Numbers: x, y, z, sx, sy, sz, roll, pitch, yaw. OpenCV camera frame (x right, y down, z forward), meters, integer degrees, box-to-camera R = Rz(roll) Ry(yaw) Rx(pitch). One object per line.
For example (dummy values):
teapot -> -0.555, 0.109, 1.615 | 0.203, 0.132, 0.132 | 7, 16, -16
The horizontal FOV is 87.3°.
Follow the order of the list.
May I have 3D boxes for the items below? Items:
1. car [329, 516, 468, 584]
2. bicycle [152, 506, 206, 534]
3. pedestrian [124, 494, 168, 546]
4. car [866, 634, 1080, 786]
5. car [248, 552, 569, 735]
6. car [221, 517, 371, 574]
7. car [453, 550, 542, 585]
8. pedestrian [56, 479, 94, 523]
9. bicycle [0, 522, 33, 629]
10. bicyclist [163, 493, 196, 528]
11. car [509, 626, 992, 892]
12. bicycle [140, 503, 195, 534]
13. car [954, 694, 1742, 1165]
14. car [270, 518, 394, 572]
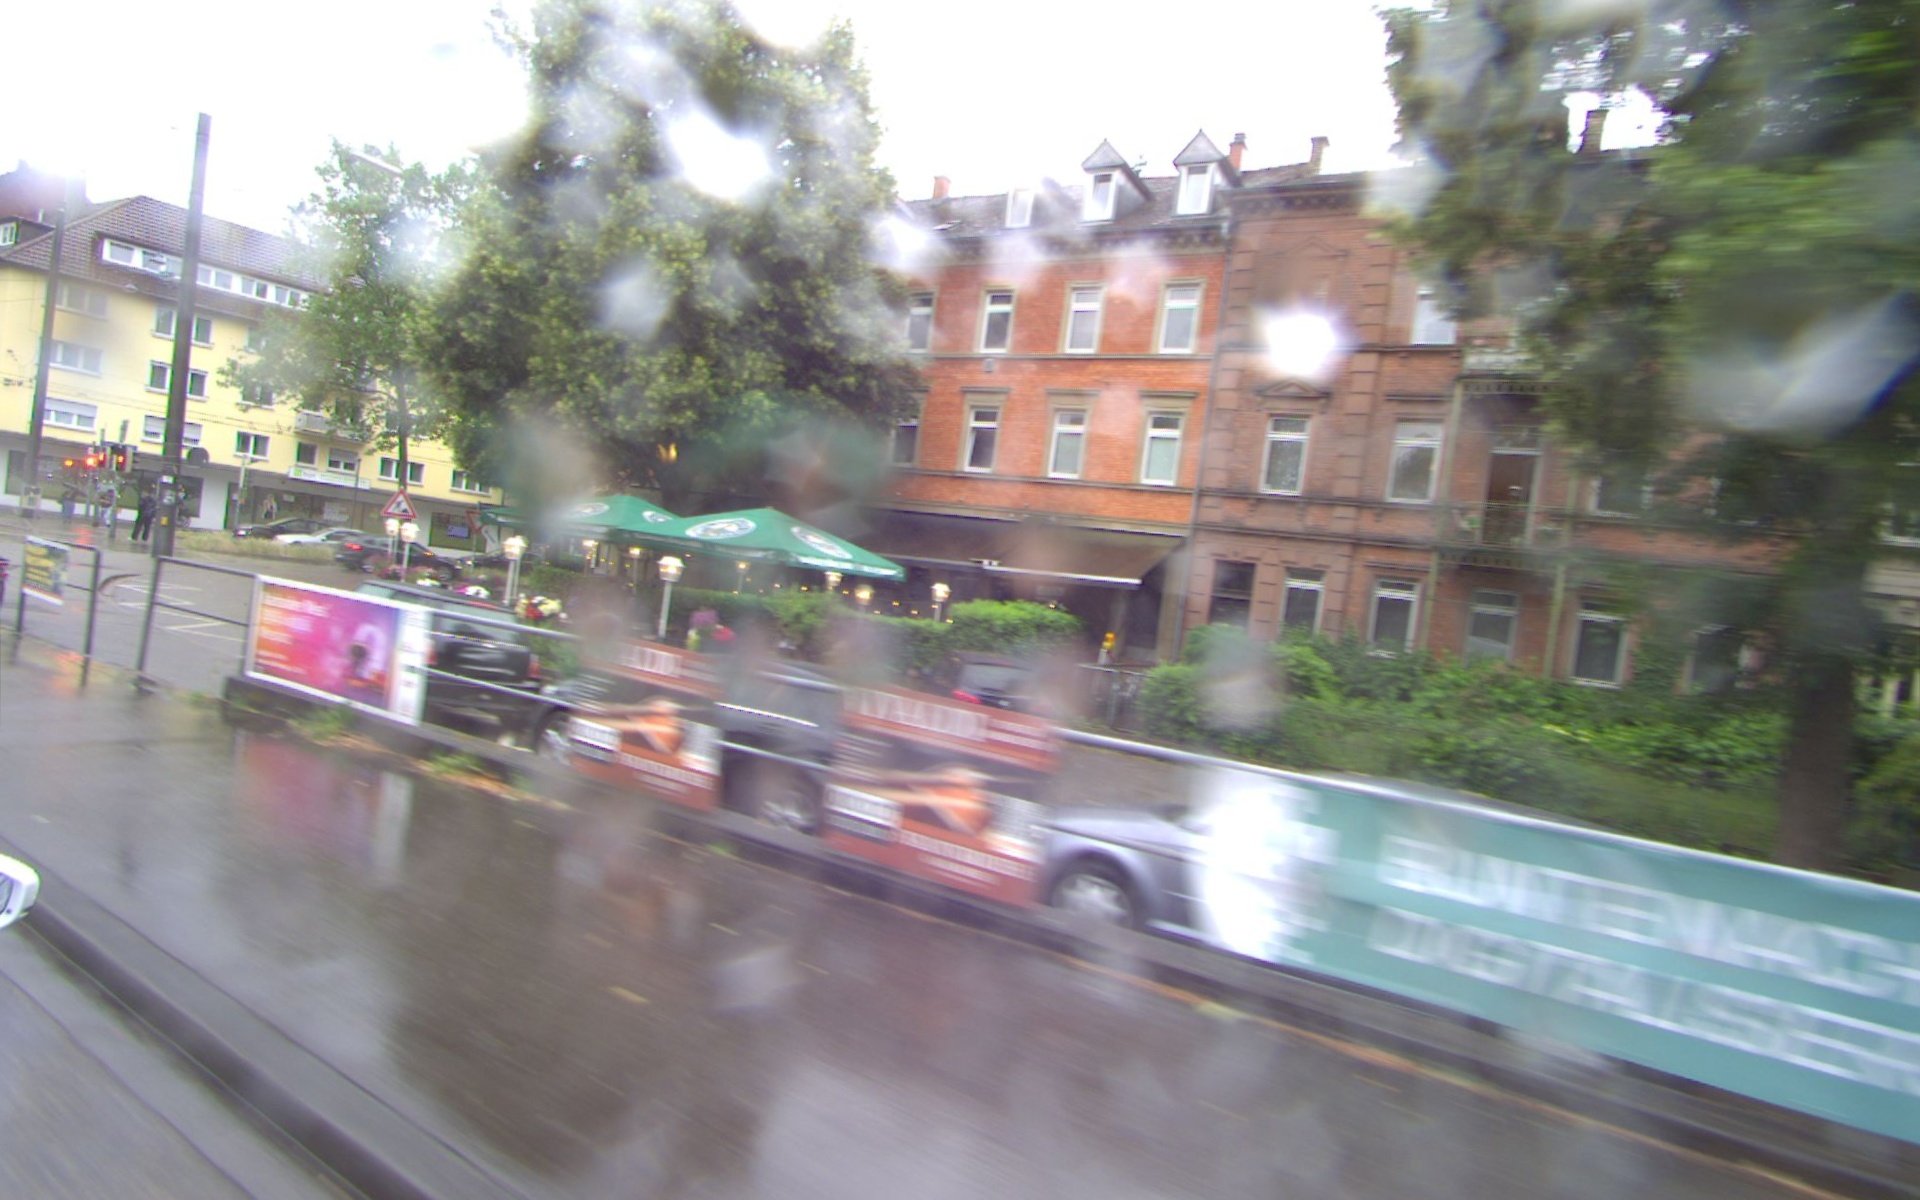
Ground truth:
car -> -21.043, -1.862, 37.838 | 1.972, 1.887, 3.985 | 7, -2, 41
bicycle -> -39.502, -4.039, 50.914 | 0.651, 1.039, 2.014 | 7, -2, 44
pedestrian -> -28.764, -2.819, 35.562 | 0.898, 1.688, 1.012 | 8, -1, -31
car -> 0.042, 1.619, 15.861 | 1.972, 1.733, 3.985 | 8, -2, -19
car -> -6.442, 0.476, 11.672 | 3.468, 1.457, 1.710 | 8, -3, 34
car -> -28.231, -2.274, 42.914 | 1.975, 1.661, 4.928 | 3, -4, 44
car -> -21.224, -1.474, 46.253 | 1.227, 1.095, 3.531 | 7, -2, 35
pedestrian -> -35.024, -3.905, 39.801 | 0.612, 1.552, 0.816 | 7, -1, -6
bicycle -> -11.264, -0.372, 11.417 | 1.984, 1.119, 0.515 | 7, -3, 34
bicyclist -> -39.476, -4.531, 50.879 | 0.924, 1.565, 1.064 | 7, -1, 44
car -> -1.896, 1.214, 8.758 | 3.907, 1.416, 1.706 | 7, -1, 32
bicycle -> -41.288, -4.239, 52.419 | 2.096, 1.277, 0.525 | 9, 0, -44
car -> 2.198, 1.691, 6.378 | 4.006, 1.557, 1.736 | 7, -2, 31
car -> -25.558, -2.231, 40.998 | 3.926, 1.508, 1.784 | 9, 0, -42
